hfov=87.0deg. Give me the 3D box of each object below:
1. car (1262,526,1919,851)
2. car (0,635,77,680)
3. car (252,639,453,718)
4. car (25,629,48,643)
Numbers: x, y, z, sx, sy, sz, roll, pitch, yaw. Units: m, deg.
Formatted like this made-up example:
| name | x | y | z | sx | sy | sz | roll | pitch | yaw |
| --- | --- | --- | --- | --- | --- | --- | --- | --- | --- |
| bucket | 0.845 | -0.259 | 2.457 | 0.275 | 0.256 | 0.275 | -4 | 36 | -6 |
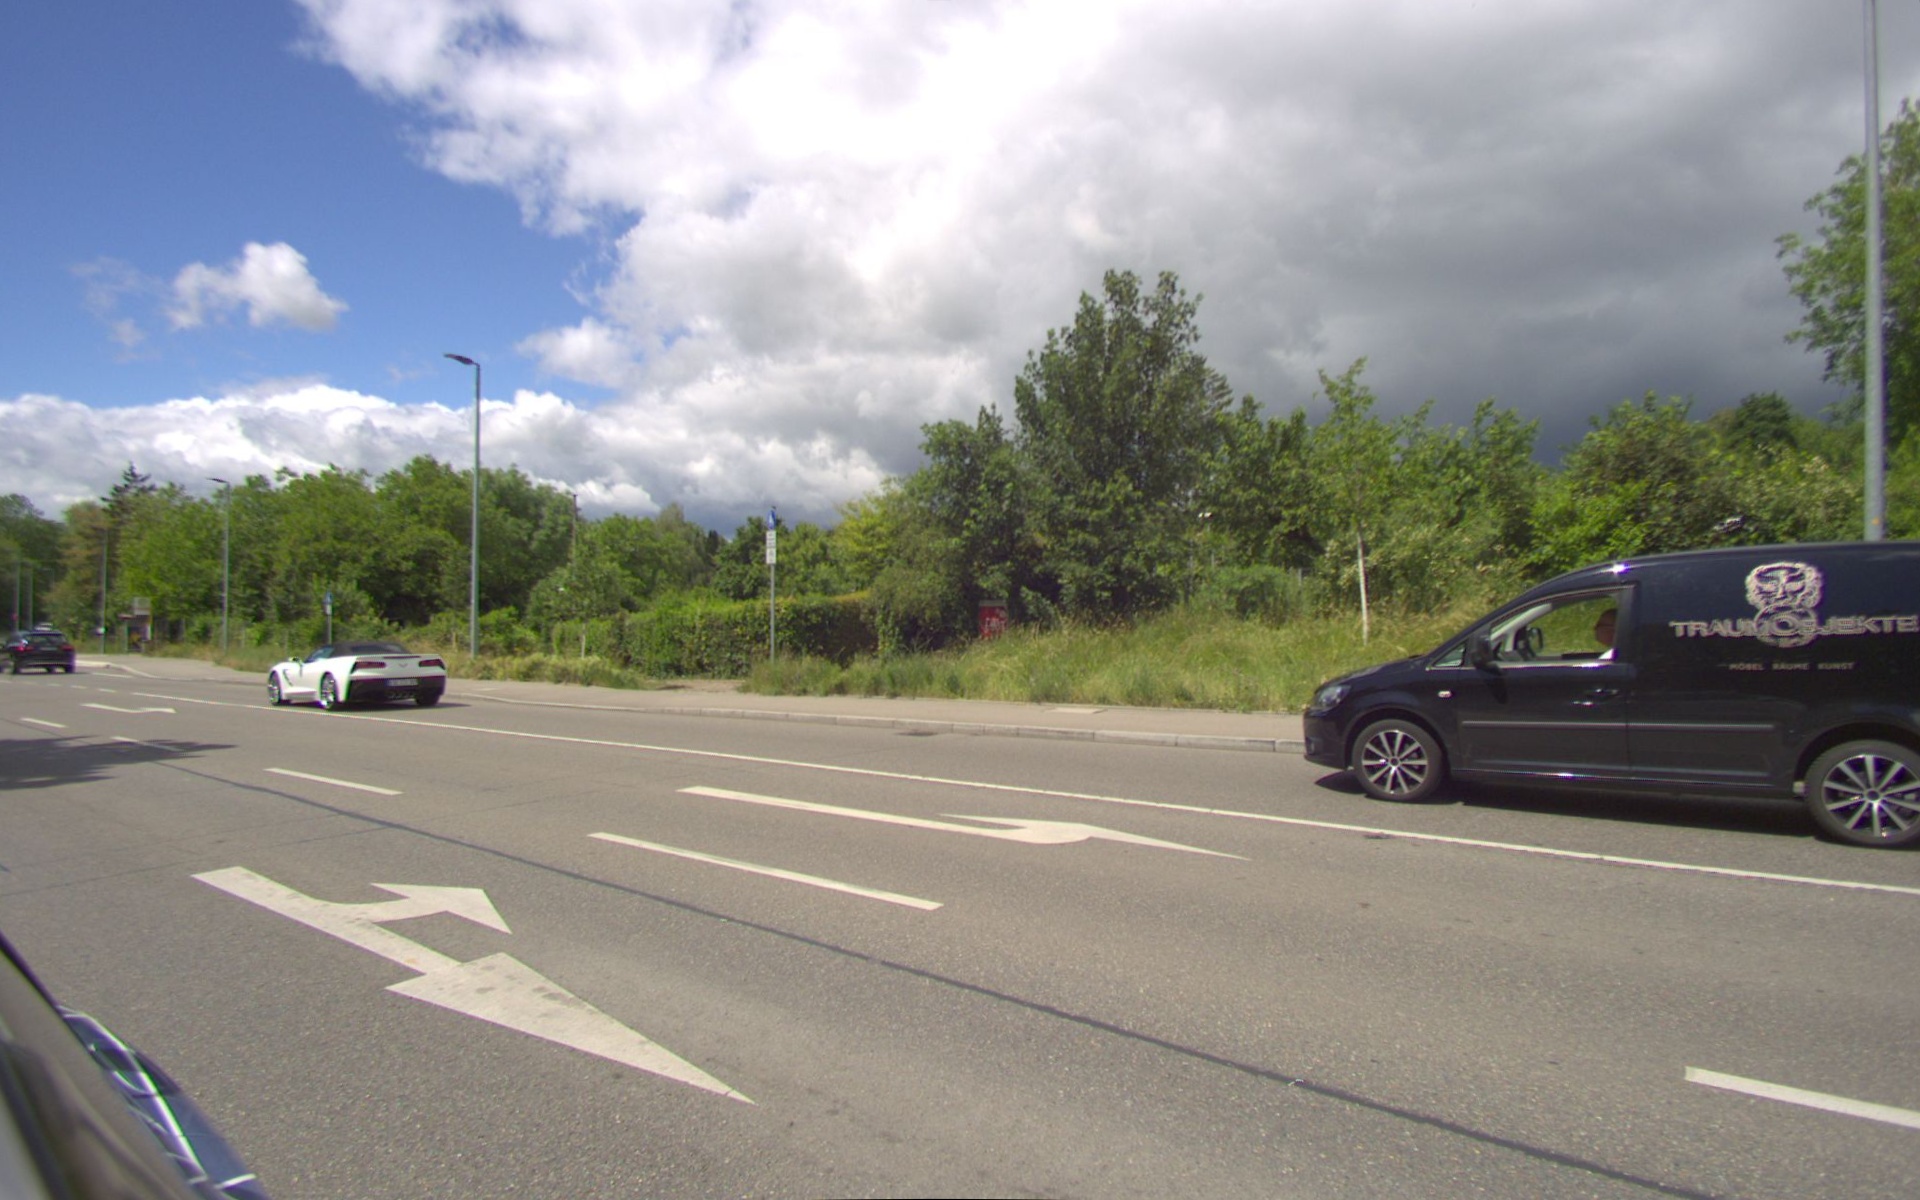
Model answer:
| name | x | y | z | sx | sy | sz | roll | pitch | yaw |
| --- | --- | --- | --- | --- | --- | --- | --- | --- | --- |
| car | 4.816 | 0.539 | 7.103 | 4.804 | 1.792 | 1.768 | -3 | -2 | 38 |
| car | -36.027 | 2.198 | 39.319 | 4.527 | 1.667 | 1.803 | -2 | -3 | 39 |
| car | -11.701 | 1.408 | 19.372 | 4.605 | 1.301 | 1.885 | -2 | -2 | 40 |
| car | -133.500 | 5.155 | 146.253 | 1.813 | 1.807 | 3.913 | -3 | 1 | -33 |
